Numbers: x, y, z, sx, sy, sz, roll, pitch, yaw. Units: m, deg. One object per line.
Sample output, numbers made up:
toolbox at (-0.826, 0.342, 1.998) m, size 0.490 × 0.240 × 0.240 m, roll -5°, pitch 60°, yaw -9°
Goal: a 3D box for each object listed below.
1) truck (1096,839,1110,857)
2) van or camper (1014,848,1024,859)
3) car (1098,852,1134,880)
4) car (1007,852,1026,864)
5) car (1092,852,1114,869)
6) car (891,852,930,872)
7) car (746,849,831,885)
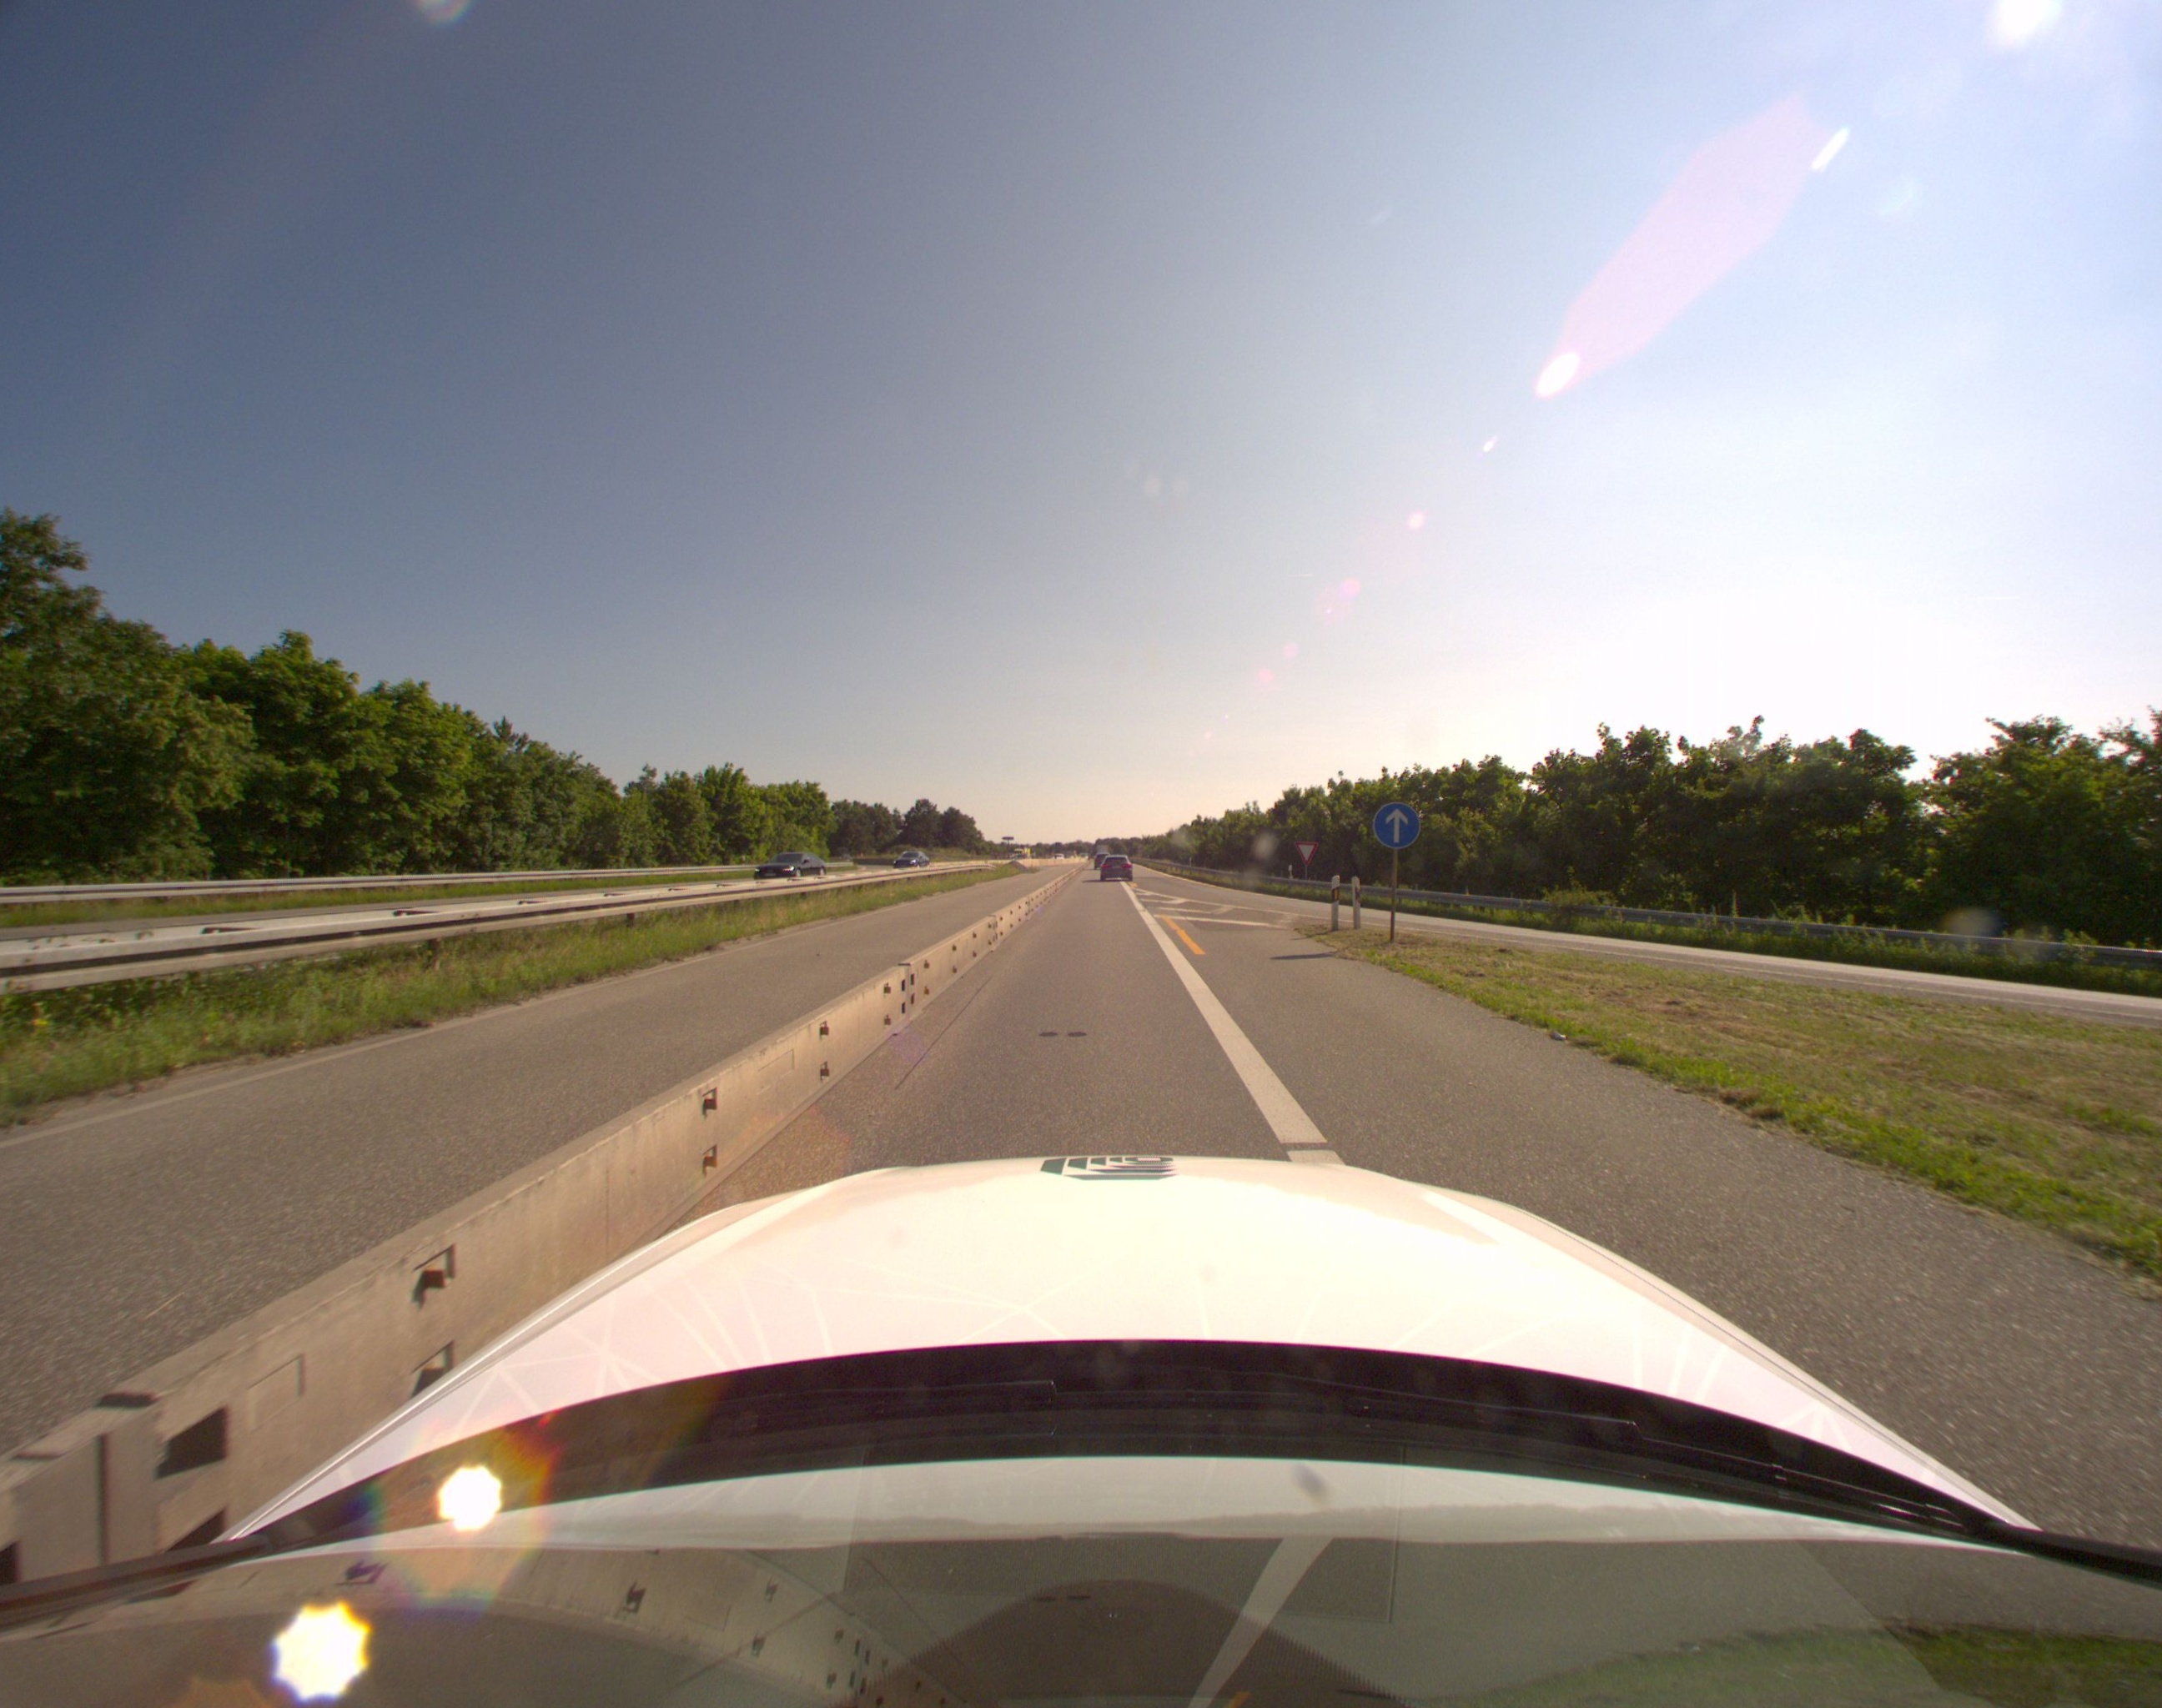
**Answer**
truck at (6.416, -1.728, 237.276) m, size 3.748 × 4.911 × 14.138 m, roll 0°, pitch 0°, yaw 1°
van or camper at (-13.442, -0.090, 175.836) m, size 1.990 × 2.378 × 6.192 m, roll -2°, pitch 0°, yaw -4°
car at (1.931, 0.657, 45.967) m, size 1.914 × 1.494 × 4.000 m, roll 0°, pitch 0°, yaw 0°
car at (-8.133, 0.448, 103.427) m, size 1.832 × 1.440 × 4.815 m, roll -1°, pitch 0°, yaw 2°
car at (2.150, 0.617, 78.890) m, size 1.986 × 1.567 × 4.002 m, roll -1°, pitch 0°, yaw 2°
car at (-12.740, 0.557, 60.971) m, size 1.790 × 1.434 × 4.595 m, roll 0°, pitch 0°, yaw 2°
car at (-13.402, 0.558, 37.676) m, size 1.808 × 1.488 × 5.028 m, roll 1°, pitch 0°, yaw 3°
